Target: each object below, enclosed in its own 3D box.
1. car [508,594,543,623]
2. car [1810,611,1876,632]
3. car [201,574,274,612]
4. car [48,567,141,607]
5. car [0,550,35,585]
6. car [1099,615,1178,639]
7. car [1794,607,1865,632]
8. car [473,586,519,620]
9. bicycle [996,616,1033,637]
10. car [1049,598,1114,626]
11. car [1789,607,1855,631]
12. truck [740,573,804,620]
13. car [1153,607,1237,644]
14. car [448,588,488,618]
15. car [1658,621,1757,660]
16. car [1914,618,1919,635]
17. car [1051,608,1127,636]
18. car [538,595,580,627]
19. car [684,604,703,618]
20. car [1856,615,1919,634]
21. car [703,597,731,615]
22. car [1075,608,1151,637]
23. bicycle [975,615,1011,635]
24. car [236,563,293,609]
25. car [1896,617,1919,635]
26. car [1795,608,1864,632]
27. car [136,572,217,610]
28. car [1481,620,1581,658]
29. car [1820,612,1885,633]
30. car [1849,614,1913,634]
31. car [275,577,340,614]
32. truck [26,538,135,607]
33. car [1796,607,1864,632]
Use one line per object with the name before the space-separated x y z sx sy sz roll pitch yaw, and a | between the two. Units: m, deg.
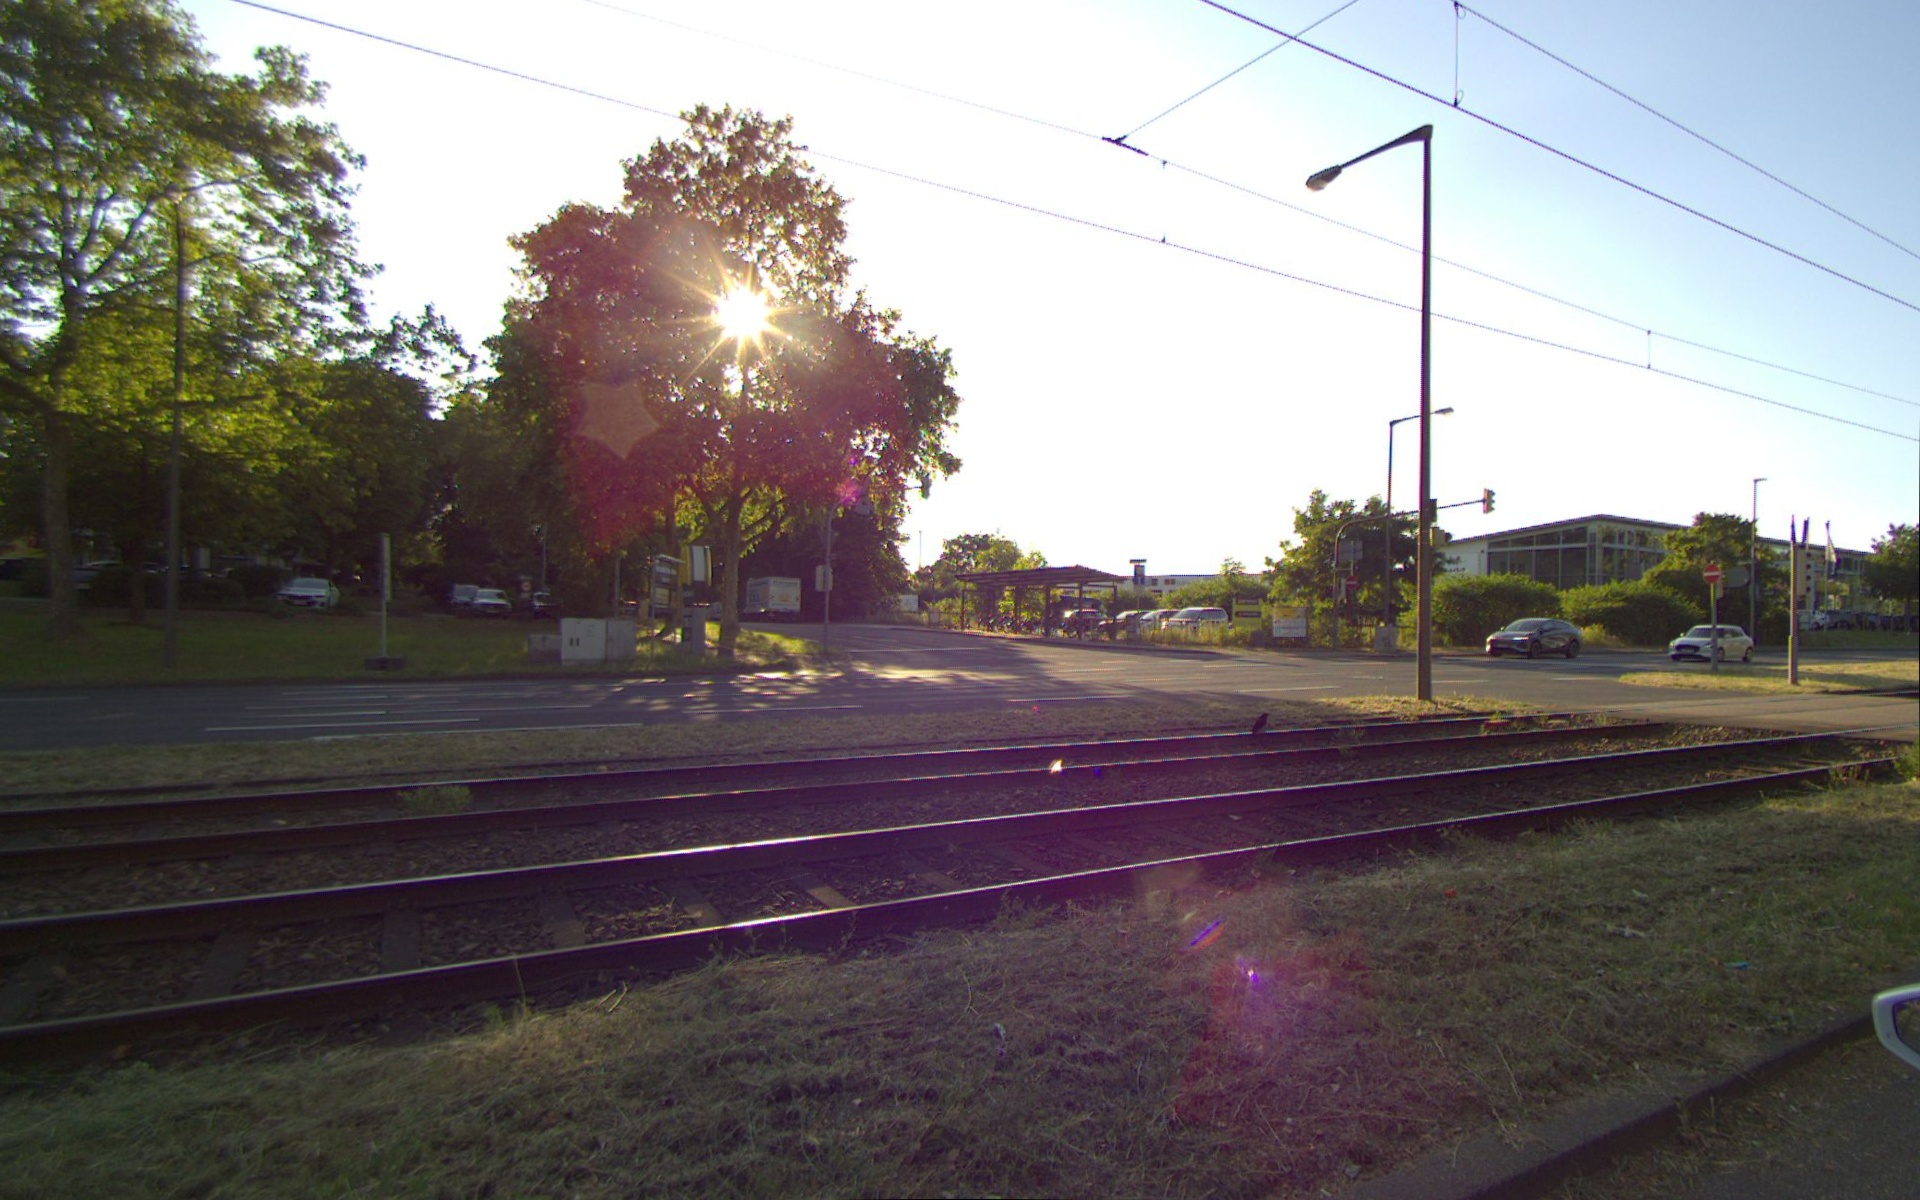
car | -26.262 0.514 60.742 1.836 1.637 4.036 2 0 -23
car | 71.981 1.747 81.947 3.940 1.577 1.735 1 0 40
car | -32.118 -0.309 44.748 1.916 1.530 4.071 2 0 -26
car | -36.092 -0.544 42.012 1.916 1.530 4.071 2 0 -26
car | -53.865 -1.866 56.371 2.274 1.875 5.220 2 0 -36
car | 9.934 1.491 55.864 4.123 1.284 1.853 1 0 -30
car | 65.172 1.442 75.374 3.940 1.727 1.735 1 0 40
car | -22.940 0.121 49.581 1.916 1.530 4.071 2 0 -26
bicycle | 3.064 1.480 56.408 2.004 1.119 0.777 2 0 -30
car | 9.280 0.941 76.661 4.715 2.041 1.853 1 0 -30
car | 69.317 1.508 80.831 3.940 1.840 1.735 1 0 40
truck | -15.055 -0.253 79.783 2.782 3.520 8.291 1 0 -27
car | 12.357 1.330 52.733 4.123 1.846 1.853 1 0 -30
car | -28.579 0.138 58.487 1.836 1.637 4.036 2 0 -23
car | 31.401 1.668 42.169 4.042 1.501 1.853 1 0 -30
car | 91.289 2.501 93.027 1.725 1.642 3.962 1 0 -34
car | 7.710 1.295 59.990 4.123 1.604 1.968 1 0 -30
car | -20.445 0.532 51.131 1.604 1.477 3.878 2 0 -27
car | -33.315 1.349 125.488 1.887 1.602 4.036 2 0 -21
car | 81.758 2.152 88.515 1.728 1.576 3.957 1 0 -37
car | -22.948 0.524 94.899 1.711 1.603 4.028 1 0 -27
car | 8.815 1.288 57.795 4.123 1.604 1.853 1 0 -30
bicycle | 1.922 1.457 59.045 2.004 1.119 0.777 2 0 -30
car | -37.302 -0.738 53.999 2.138 2.334 4.369 2 0 -31
car | 88.373 2.384 91.748 1.725 1.642 3.962 1 0 -34
car | 66.718 1.492 77.173 3.940 1.727 1.735 1 0 40
car | -33.960 -0.382 43.676 1.916 1.530 4.071 2 0 -26
car | 24.457 1.660 43.005 4.120 1.501 1.854 1 0 -29
car | 74.201 1.842 83.615 3.940 1.577 1.735 1 0 40
car | 79.605 2.064 86.896 3.940 1.577 1.735 1 0 40
car | -29.437 -0.208 45.431 1.916 1.530 4.071 2 0 -26
truck | -44.518 -1.327 51.055 2.468 3.209 6.187 2 0 -26
car | 68.356 1.490 78.986 3.940 1.840 1.735 1 0 40
